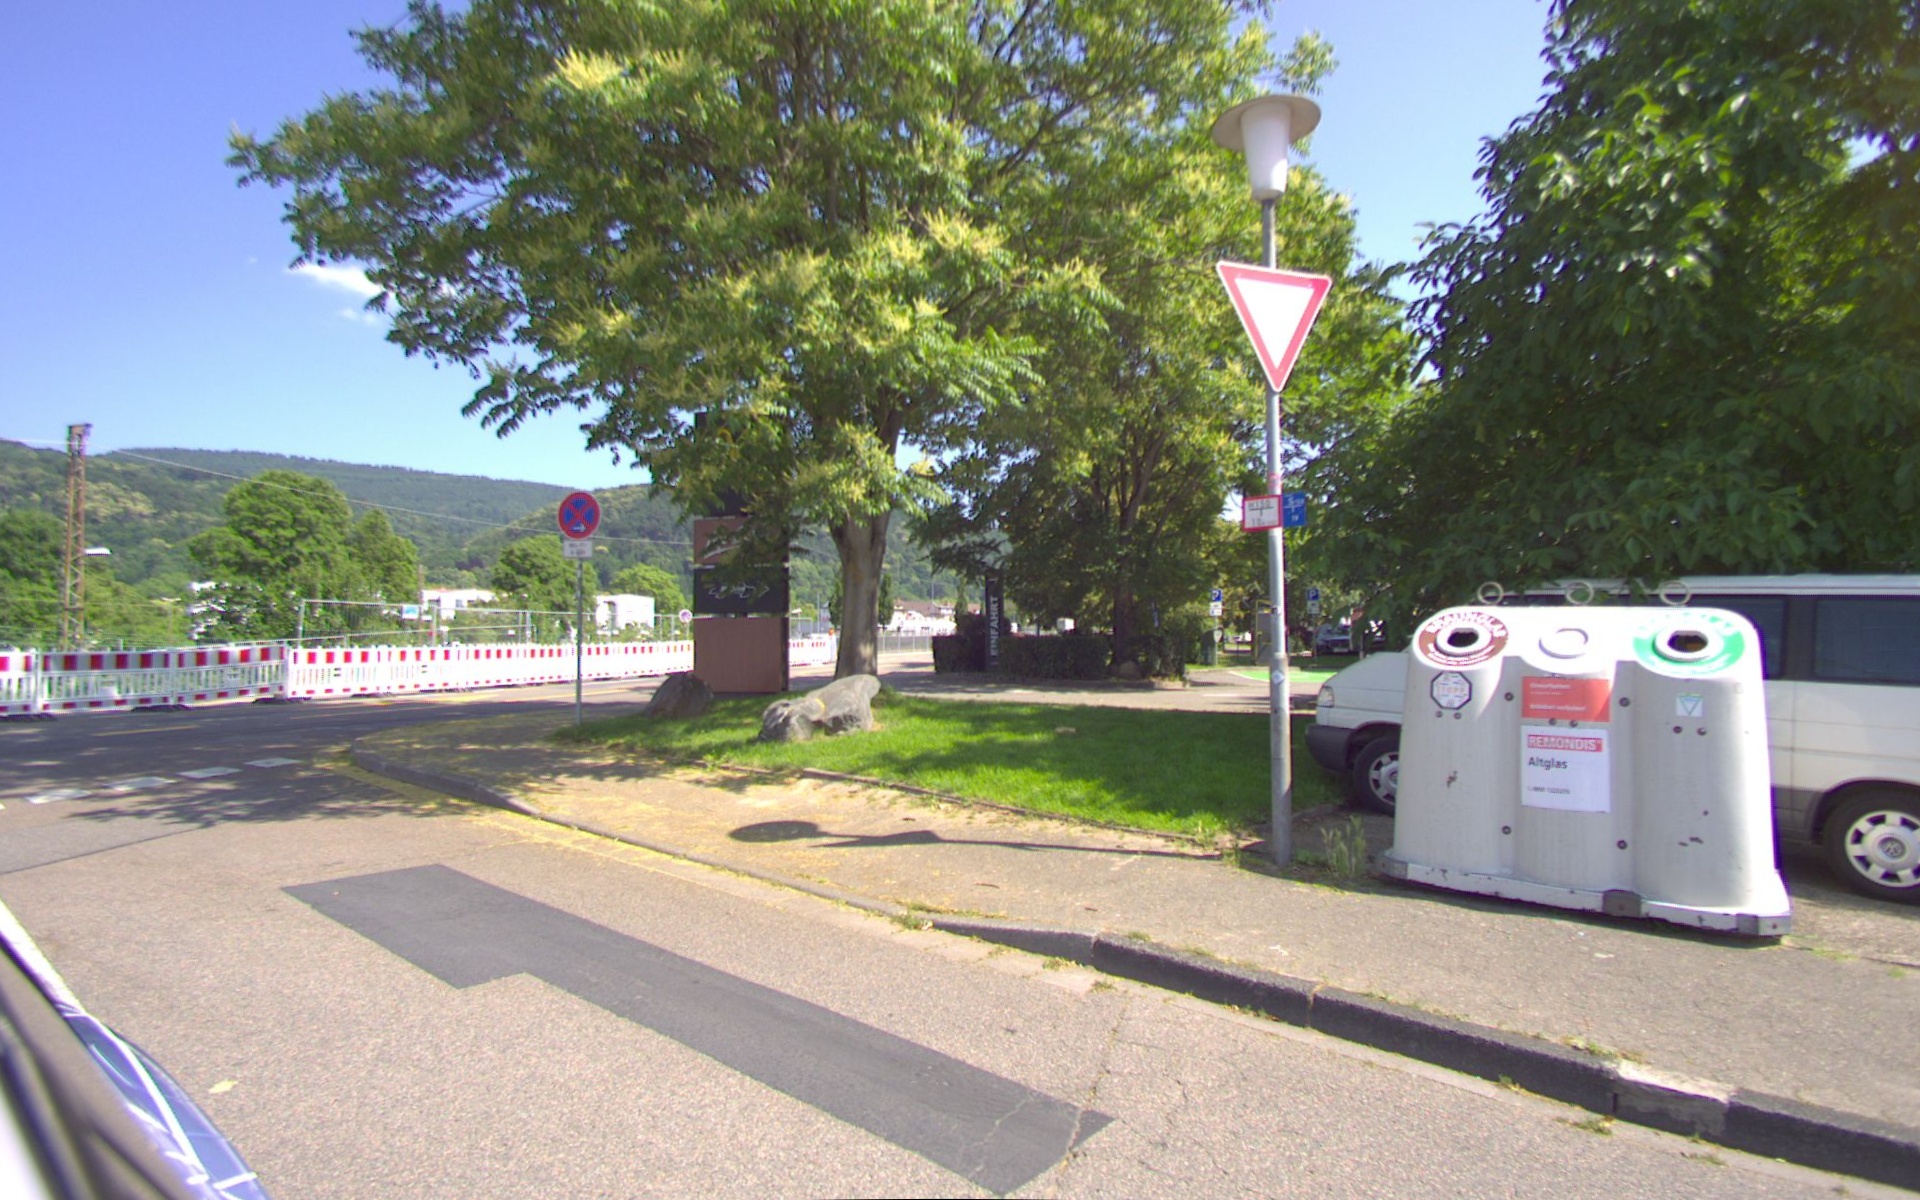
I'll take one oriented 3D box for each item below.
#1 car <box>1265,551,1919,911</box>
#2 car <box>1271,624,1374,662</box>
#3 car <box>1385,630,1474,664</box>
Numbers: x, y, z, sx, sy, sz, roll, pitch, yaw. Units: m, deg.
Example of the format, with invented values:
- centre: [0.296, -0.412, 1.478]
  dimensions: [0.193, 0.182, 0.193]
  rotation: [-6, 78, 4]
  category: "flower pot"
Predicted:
- centre: [5.002, 0.757, 7.221]
  dimensions: [1.969, 1.945, 5.108]
  rotation: [5, -3, -41]
  category: "car"
- centre: [13.493, 1.587, 37.684]
  dimensions: [3.384, 1.343, 1.682]
  rotation: [-1, -2, 29]
  category: "car"
- centre: [22.256, 2.223, 48.073]
  dimensions: [3.478, 1.568, 1.695]
  rotation: [0, -2, 6]
  category: "car"
